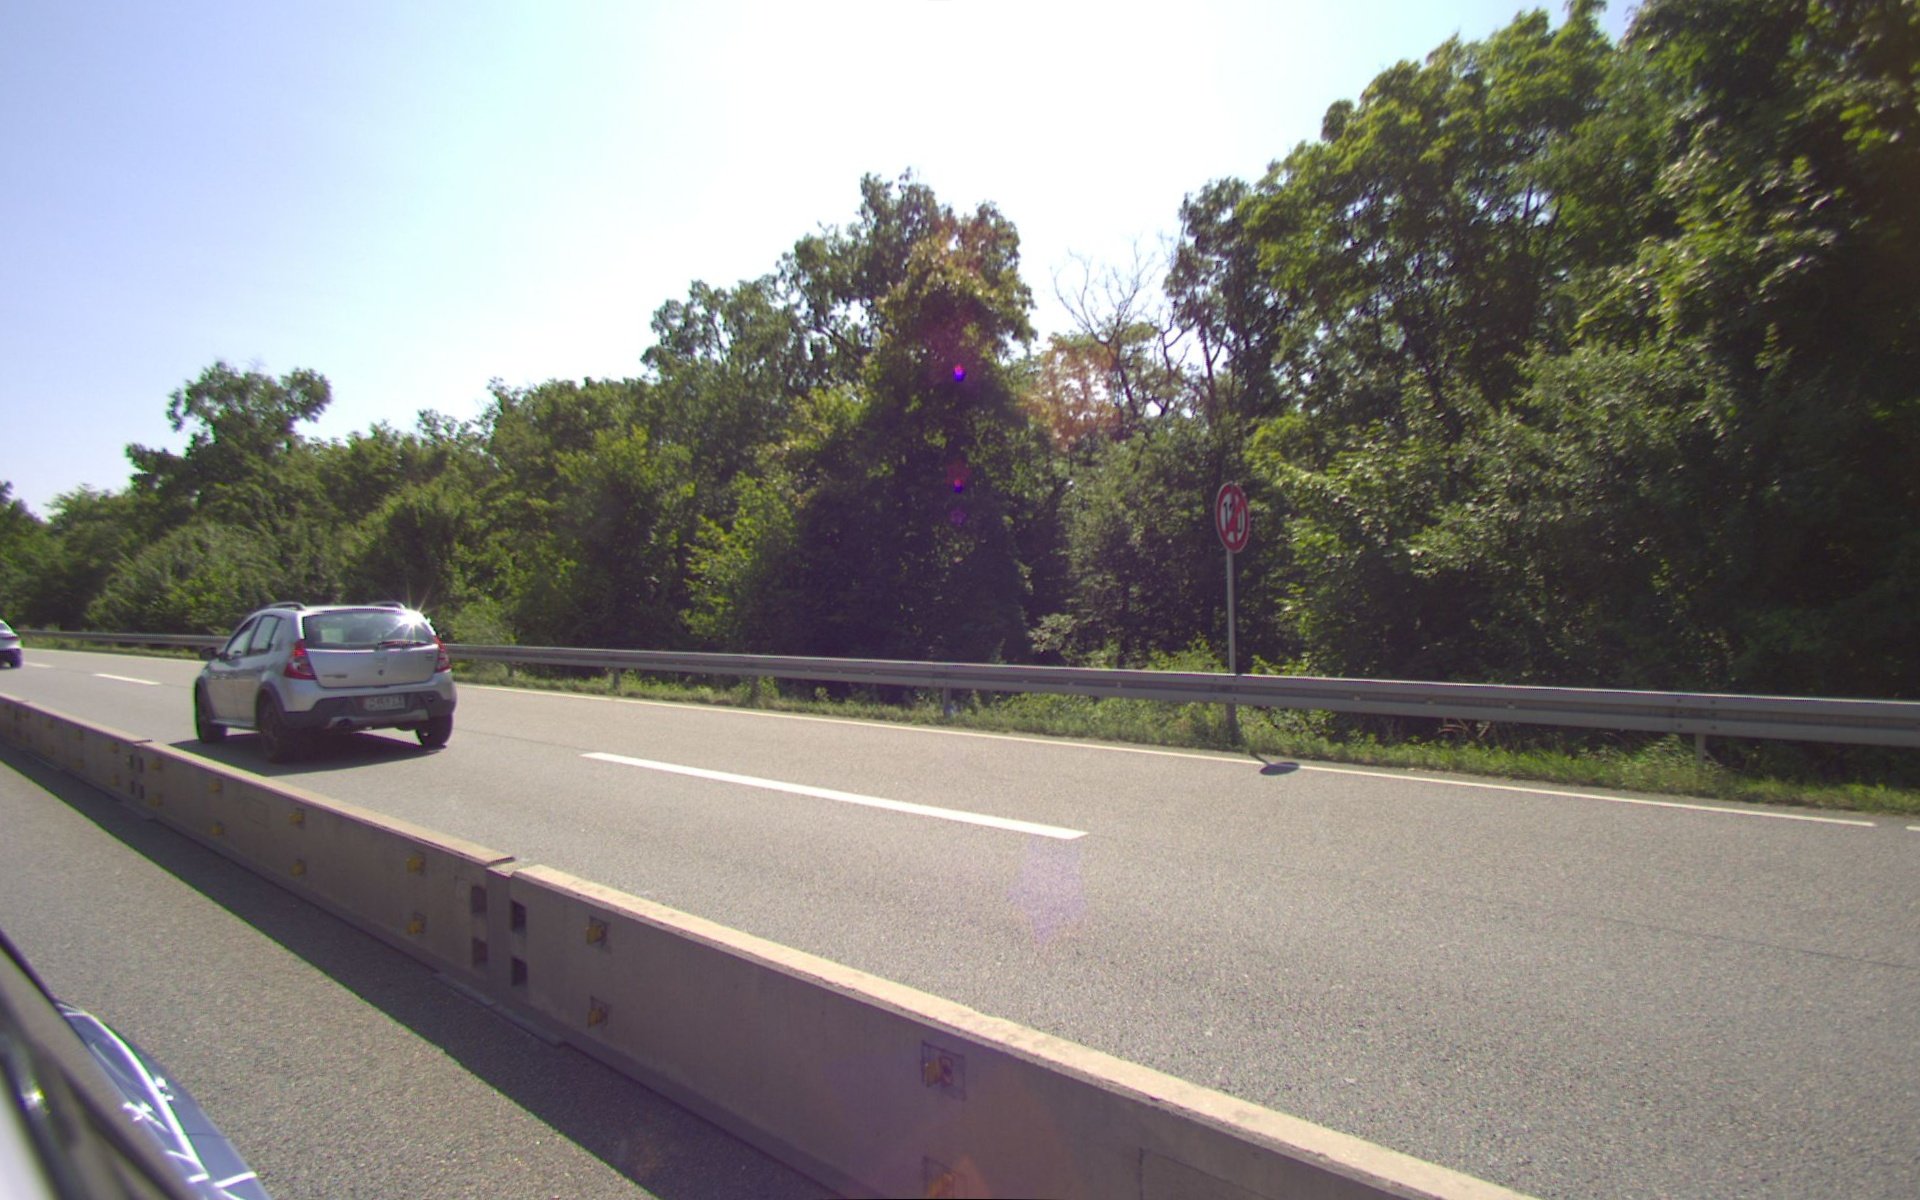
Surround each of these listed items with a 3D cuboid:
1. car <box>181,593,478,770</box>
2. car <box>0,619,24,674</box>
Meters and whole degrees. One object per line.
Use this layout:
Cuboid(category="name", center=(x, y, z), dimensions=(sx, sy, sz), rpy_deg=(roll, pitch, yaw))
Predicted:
Cuboid(category="car", center=(-7.124, 0.782, 11.304), dimensions=(3.782, 1.642, 1.810), rpy_deg=(-1, -1, 41))
Cuboid(category="car", center=(-28.948, 1.340, 29.505), dimensions=(4.432, 1.550, 1.929), rpy_deg=(-1, 0, 40))
